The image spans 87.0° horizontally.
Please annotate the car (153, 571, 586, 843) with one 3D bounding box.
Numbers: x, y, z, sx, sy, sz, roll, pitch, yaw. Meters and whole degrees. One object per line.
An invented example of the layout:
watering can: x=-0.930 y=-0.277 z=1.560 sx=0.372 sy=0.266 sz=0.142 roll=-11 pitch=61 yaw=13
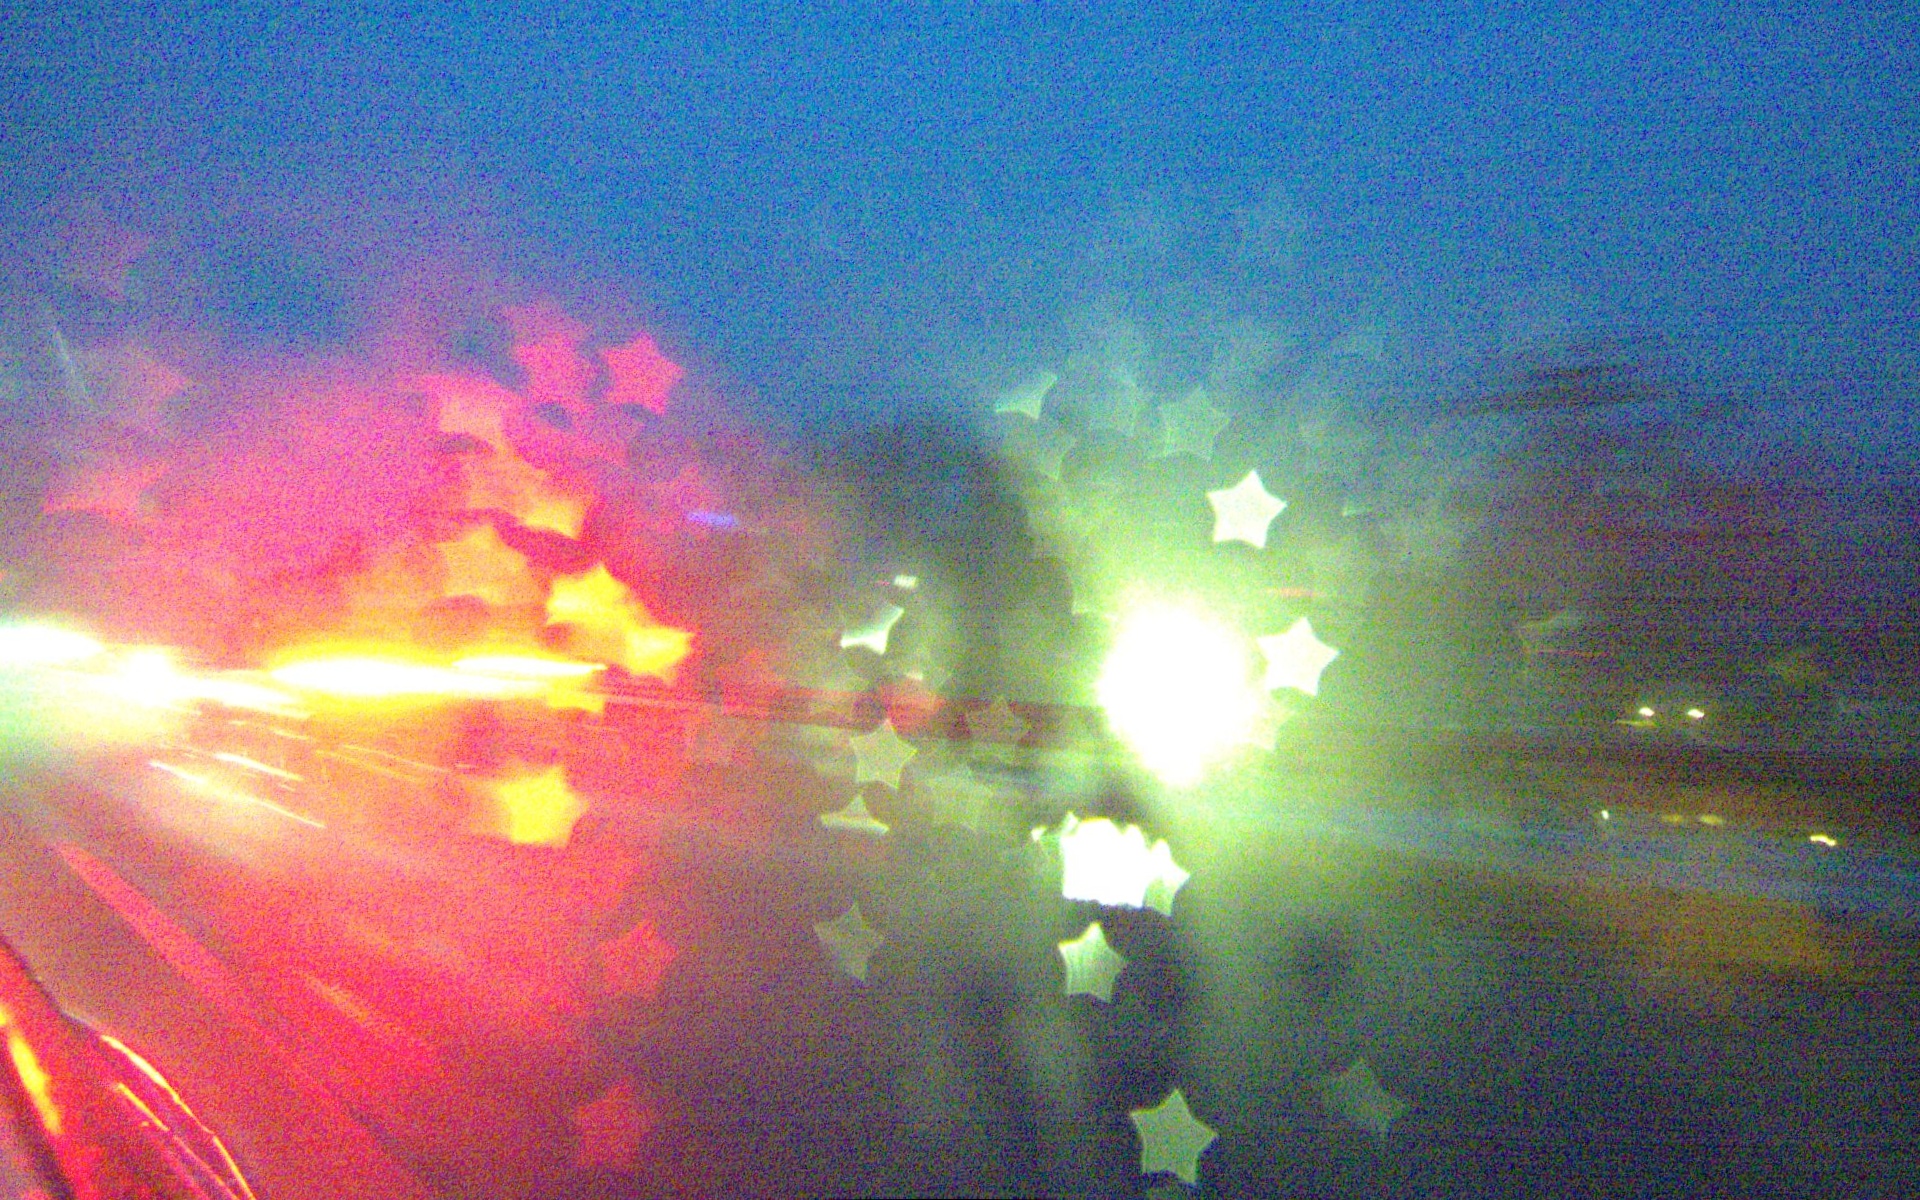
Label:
car: x=-5.067 y=0.684 z=8.391 sx=4.470 sy=1.679 sz=1.762 roll=-1 pitch=0 yaw=41
